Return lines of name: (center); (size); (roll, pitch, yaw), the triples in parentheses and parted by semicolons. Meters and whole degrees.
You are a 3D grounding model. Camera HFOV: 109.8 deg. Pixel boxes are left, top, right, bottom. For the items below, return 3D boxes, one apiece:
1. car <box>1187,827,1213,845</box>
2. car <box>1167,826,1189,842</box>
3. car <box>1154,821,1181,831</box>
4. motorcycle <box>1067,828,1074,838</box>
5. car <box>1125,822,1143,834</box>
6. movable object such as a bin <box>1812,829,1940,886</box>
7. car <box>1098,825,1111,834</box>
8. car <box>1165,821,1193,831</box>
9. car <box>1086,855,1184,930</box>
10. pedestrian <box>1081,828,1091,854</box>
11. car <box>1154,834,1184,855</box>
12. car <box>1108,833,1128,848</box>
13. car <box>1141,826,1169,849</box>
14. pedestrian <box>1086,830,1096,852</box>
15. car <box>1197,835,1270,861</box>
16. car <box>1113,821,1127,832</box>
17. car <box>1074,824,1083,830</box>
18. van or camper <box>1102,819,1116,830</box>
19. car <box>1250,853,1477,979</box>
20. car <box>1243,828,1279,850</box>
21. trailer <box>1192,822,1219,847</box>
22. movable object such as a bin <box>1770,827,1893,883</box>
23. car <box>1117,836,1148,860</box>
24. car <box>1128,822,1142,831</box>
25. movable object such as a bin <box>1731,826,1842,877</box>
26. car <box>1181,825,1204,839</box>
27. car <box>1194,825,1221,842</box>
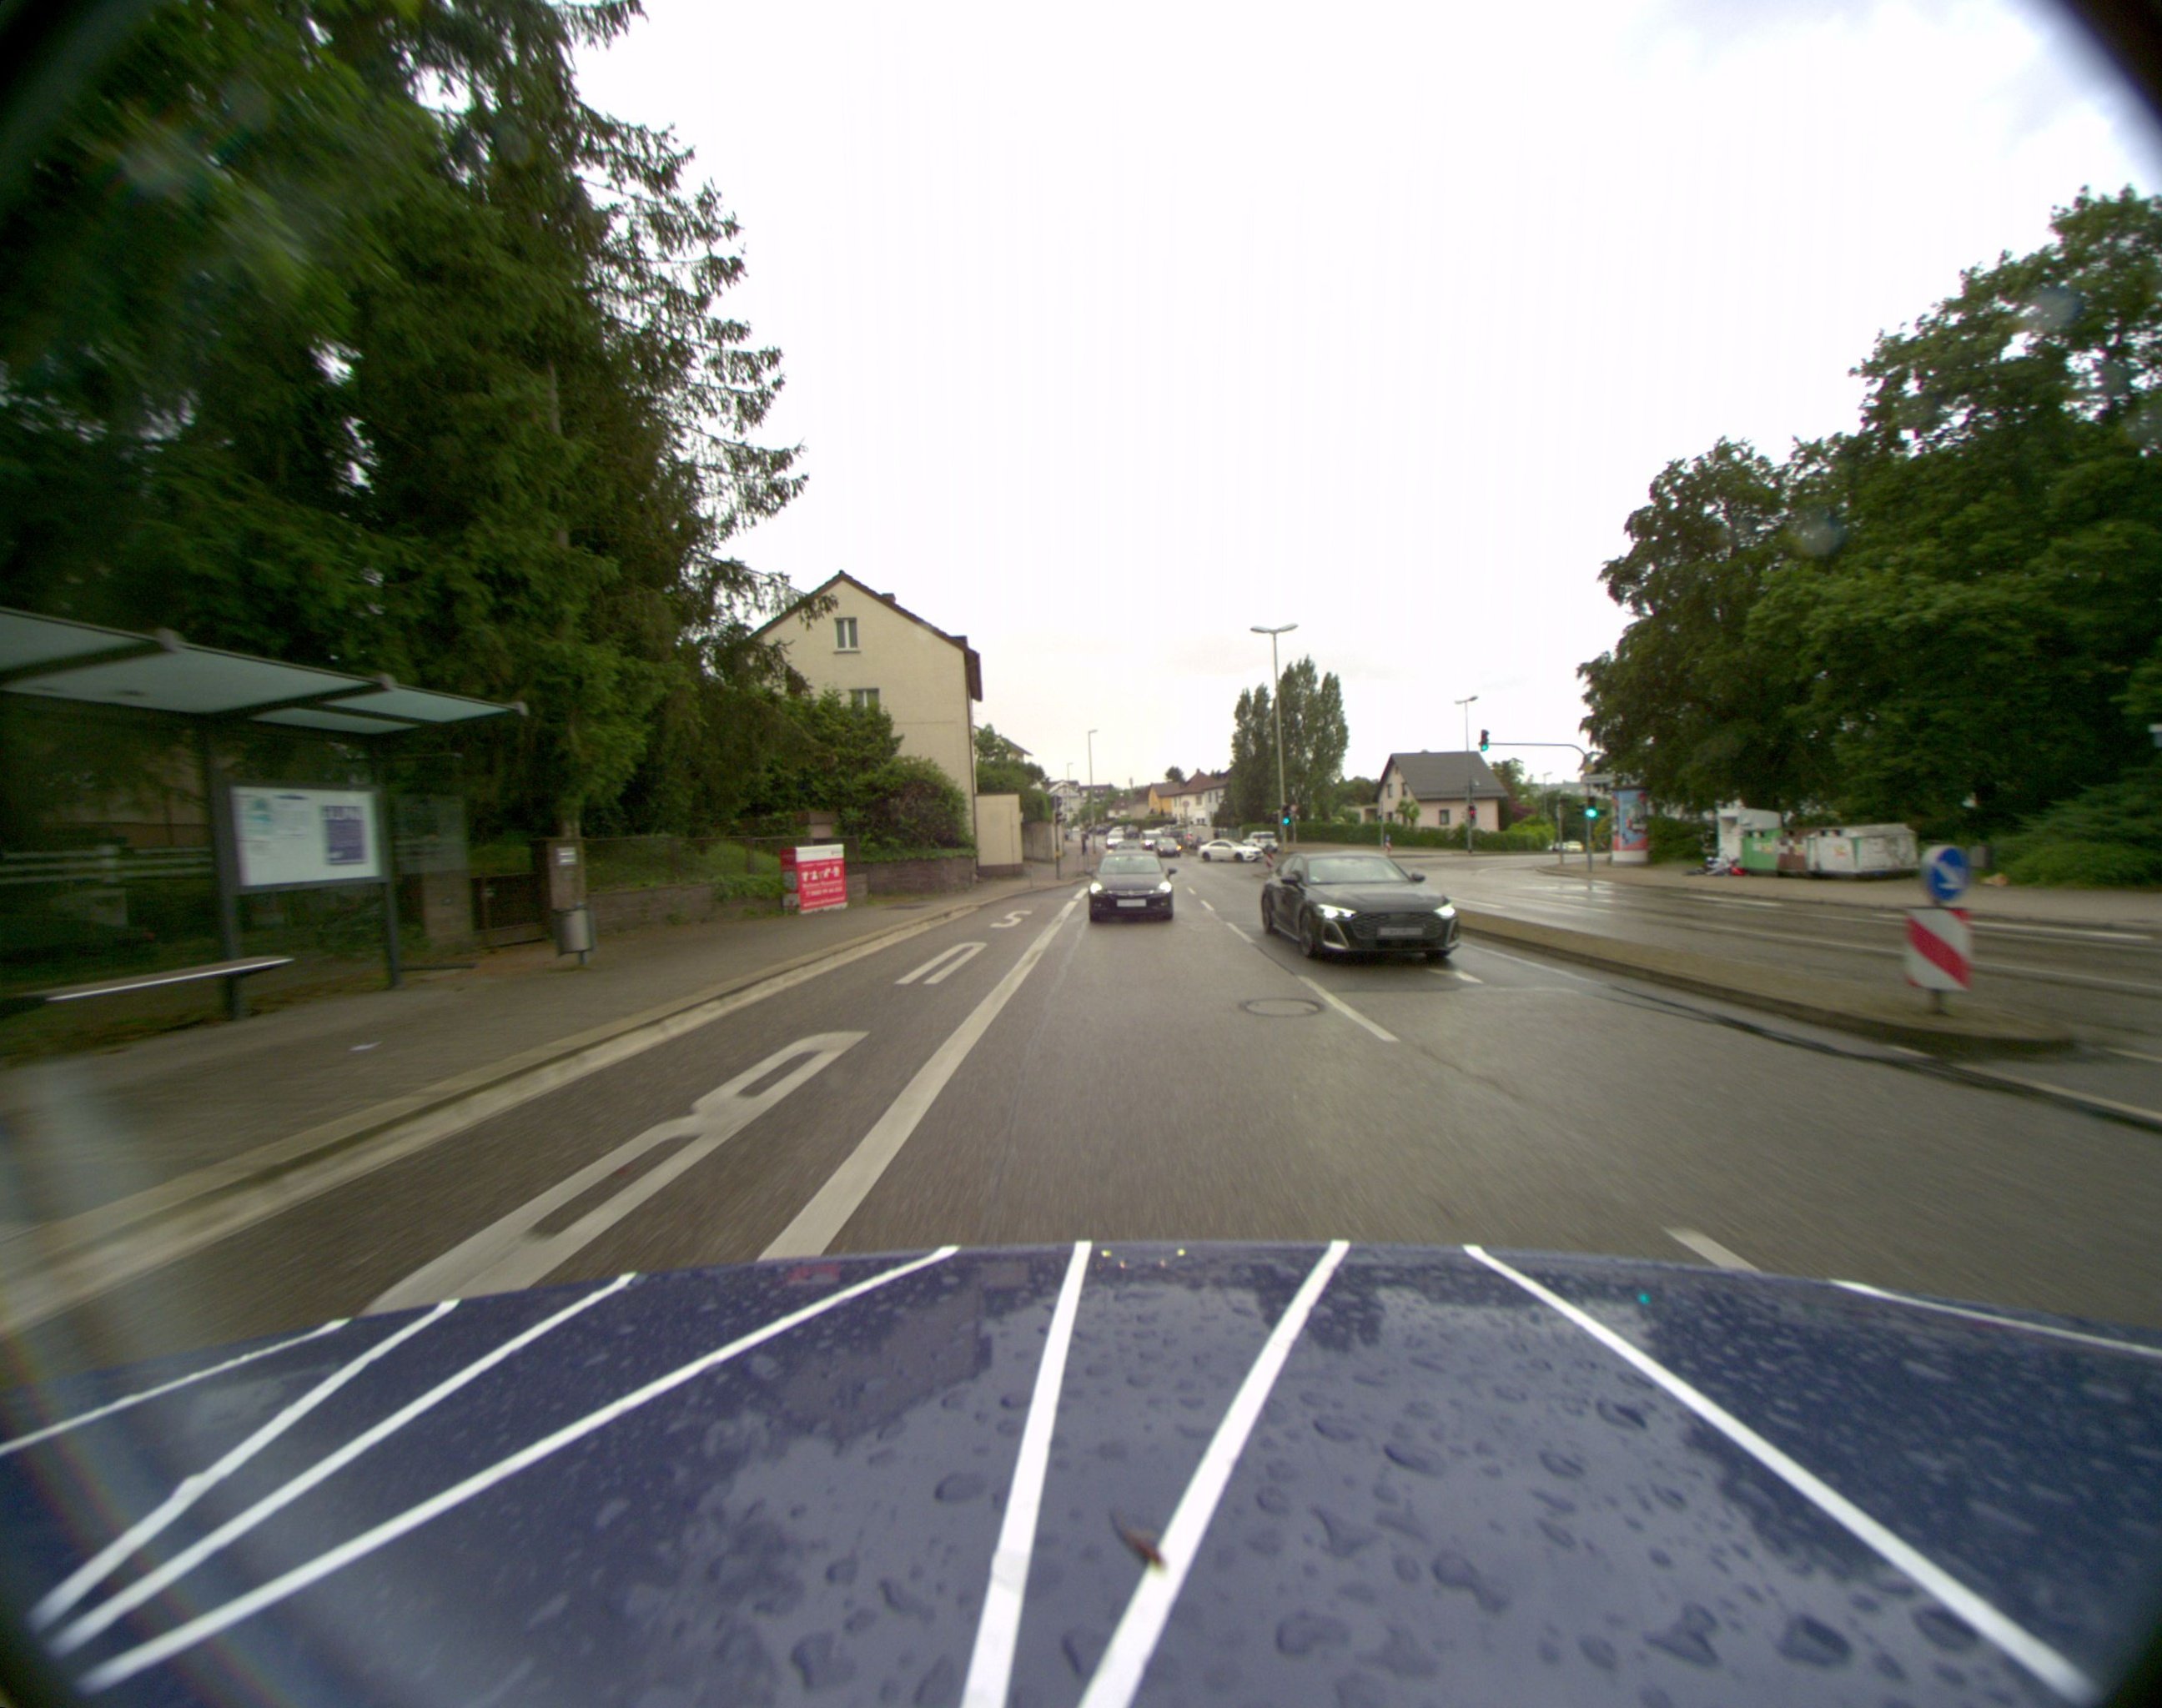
car: (11.404, -1.775, 73.292); (1.904, 1.673, 4.478); (-1, 2, 2)
car: (10.574, -2.208, 83.042); (1.846, 1.543, 4.381); (-1, 3, -1)
car: (14.427, -4.635, 127.120); (4.114, 1.476, 1.838); (2, 2, -12)
motorcycle: (-1.382, -2.951, 104.237); (0.694, 1.318, 2.476); (-1, 3, -7)
car: (7.481, -3.720, 107.331); (1.999, 1.566, 3.996); (-1, 4, -4)
movable object such as a bin: (22.053, 0.100, 21.142); (2.062, 1.506, 1.344); (-1, 1, 6)
car: (4.240, -4.456, 136.748); (1.859, 1.456, 3.996); (-2, 3, -6)
car: (15.606, -4.446, 121.288); (4.111, 1.412, 1.882); (-3, 3, -5)
car: (1.139, 0.734, 16.457); (1.840, 1.390, 4.001); (-1, 0, 3)
pedestrian: (0.405, -1.048, 60.970); (0.799, 2.003, 0.734); (-2, 4, 1)
car: (6.766, -0.762, 58.798); (1.839, 1.479, 4.057); (-1, 3, 1)
car: (3.776, -1.380, 78.292); (1.840, 1.473, 3.999); (-1, 0, 0)
car: (6.566, -1.526, 67.762); (1.956, 1.861, 4.743); (-1, 3, -2)
pedestrian: (0.860, -1.064, 62.894); (0.795, 1.771, 1.011); (0, 4, 1)
car: (9.952, -0.445, 49.917); (1.917, 1.520, 4.638); (-4, 4, -34)
car: (6.198, -4.403, 120.875); (1.841, 1.548, 4.766); (-1, 3, -3)
car: (-0.582, -6.876, 192.341); (1.838, 1.522, 3.996); (-1, 3, -5)
van or camper: (5.795, -6.050, 156.545); (2.191, 2.003, 5.128); (-2, 4, -6)
car: (3.927, 0.744, 11.555); (1.910, 1.390, 4.857); (-1, 1, 4)
car: (14.466, -1.224, 61.306); (1.828, 1.648, 4.464); (-1, 3, 0)
trailer: (11.241, -1.836, 68.997); (1.900, 2.167, 4.034); (-1, 2, 2)
movable object such as a bin: (22.237, 0.018, 22.597); (2.062, 1.560, 1.582); (-1, 1, 6)
car: (3.304, -0.349, 48.833); (1.840, 1.448, 4.001); (-1, -1, 3)
car: (9.202, -4.668, 130.248); (1.810, 1.408, 3.996); (-1, 3, -5)
movable object such as a bin: (22.387, -0.087, 24.186); (2.062, 1.560, 1.582); (-1, 1, 6)
car: (13.131, -2.611, 89.700); (1.810, 1.560, 4.138); (-2, 4, -5)
car: (13.789, -2.235, 82.778); (1.810, 1.661, 4.593); (-2, 4, -5)
